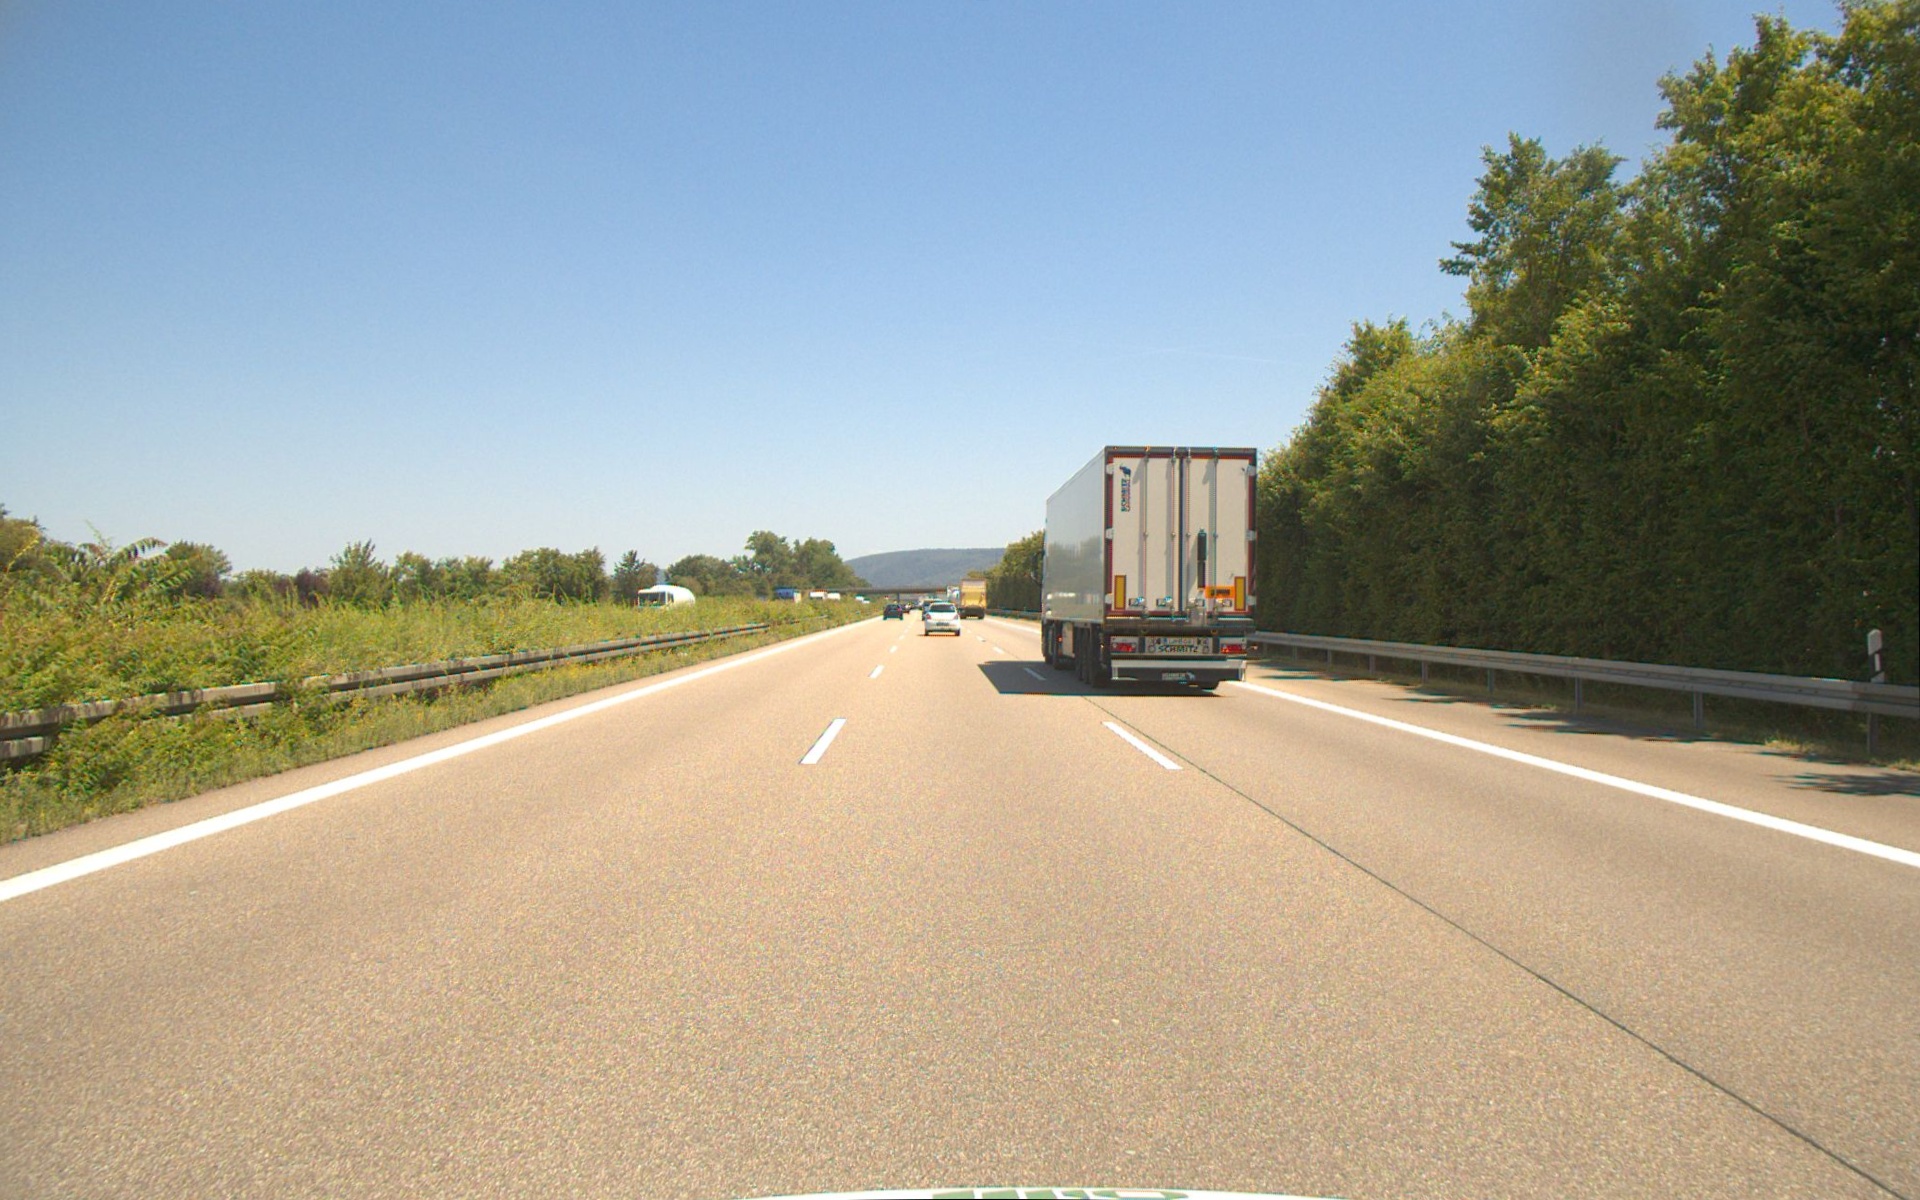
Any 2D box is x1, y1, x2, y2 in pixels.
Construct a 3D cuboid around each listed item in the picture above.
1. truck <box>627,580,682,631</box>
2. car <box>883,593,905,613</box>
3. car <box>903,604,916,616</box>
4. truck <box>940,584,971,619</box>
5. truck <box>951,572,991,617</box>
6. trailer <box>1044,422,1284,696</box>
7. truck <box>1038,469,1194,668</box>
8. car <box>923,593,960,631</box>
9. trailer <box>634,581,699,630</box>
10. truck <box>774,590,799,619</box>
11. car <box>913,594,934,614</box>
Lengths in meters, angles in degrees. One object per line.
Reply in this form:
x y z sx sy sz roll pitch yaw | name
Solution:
-22.264 0.378 120.772 3.162 3.578 5.432 0 0 -2 | truck
-5.992 0.239 150.772 1.953 1.742 3.999 1 0 -2 | car
-7.105 1.389 233.191 1.759 1.578 3.999 0 0 -1 | car
-0.734 0.219 231.325 4.184 4.733 13.857 0 0 -1 | truck
1.086 -0.592 171.706 3.793 4.421 13.858 1 0 -1 | truck
3.678 -0.695 33.862 3.152 4.421 13.628 1 0 0 | trailer
3.673 -0.716 40.631 3.152 4.421 6.590 1 0 0 | truck
-0.897 0.527 77.860 1.697 1.713 3.999 -1 0 -2 | car
-22.423 0.388 127.036 3.162 3.578 11.766 0 0 -1 | trailer
-24.537 0.635 234.037 3.070 3.899 5.832 0 0 -2 | truck
-3.151 0.330 142.650 1.750 1.742 3.999 1 0 -2 | car
